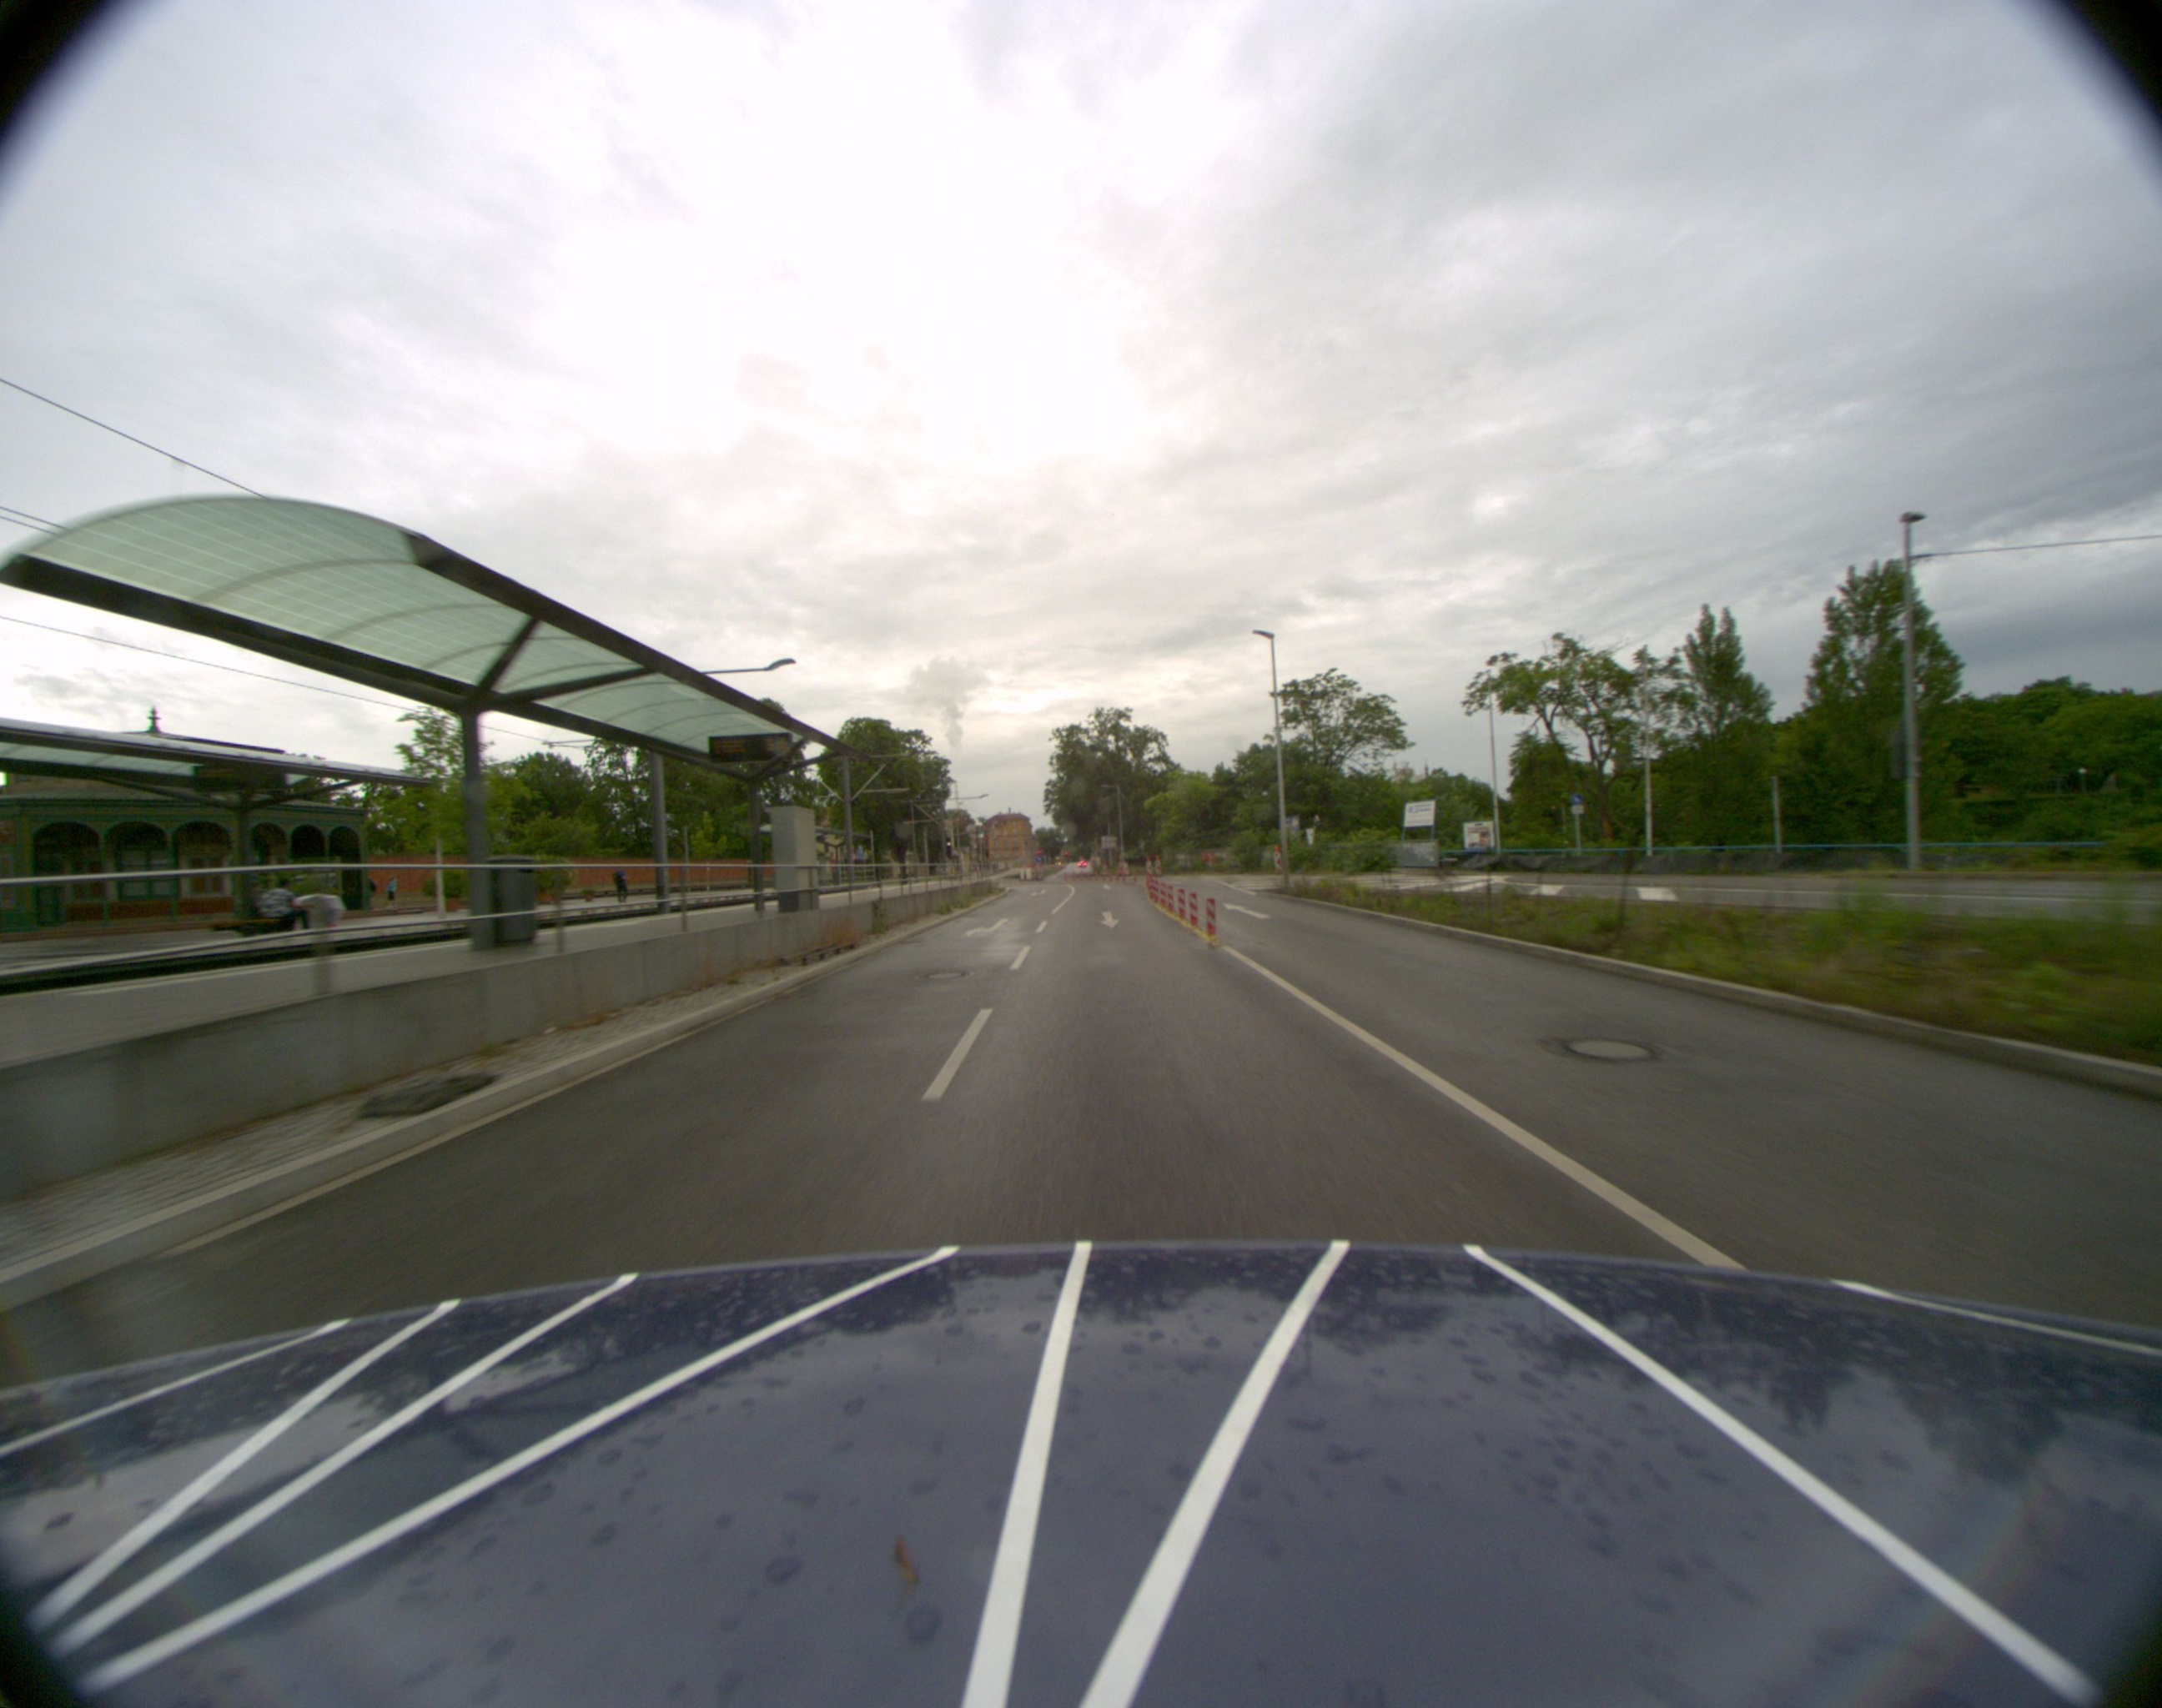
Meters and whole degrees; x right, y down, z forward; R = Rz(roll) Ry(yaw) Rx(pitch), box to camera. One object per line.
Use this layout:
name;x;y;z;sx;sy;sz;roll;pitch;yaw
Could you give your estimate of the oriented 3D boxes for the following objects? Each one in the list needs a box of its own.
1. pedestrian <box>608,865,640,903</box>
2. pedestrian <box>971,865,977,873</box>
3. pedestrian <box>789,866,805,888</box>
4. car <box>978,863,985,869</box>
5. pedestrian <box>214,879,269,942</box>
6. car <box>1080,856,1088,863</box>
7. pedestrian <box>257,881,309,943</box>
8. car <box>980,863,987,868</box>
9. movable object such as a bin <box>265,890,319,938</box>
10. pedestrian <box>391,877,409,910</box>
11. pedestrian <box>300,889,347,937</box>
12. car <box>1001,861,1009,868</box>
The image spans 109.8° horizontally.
pedestrian;-21.773;1.430;36.207;0.722;1.779;1.182;-2;0;1
pedestrian;-21.977;3.110;156.072;0.863;1.581;0.669;-2;0;26
pedestrian;-16.721;1.374;44.752;0.520;1.206;0.782;-8;1;-3
car;-29.584;3.532;226.591;1.831;1.573;3.998;-3;0;-6
pedestrian;-17.042;1.143;15.431;0.438;1.219;0.551;-2;0;1
car;0.778;1.304;183.934;1.713;1.490;4.719;-3;0;-1
pedestrian;-16.409;1.182;15.636;0.438;1.219;0.551;-2;0;1
car;-30.525;3.565;237.458;1.831;1.573;3.998;-3;0;-6
movable object such as a bin;-17.405;1.317;16.772;0.438;1.003;0.682;-2;0;1
pedestrian;-34.118;1.980;38.054;0.550;1.647;0.470;-3;1;35
pedestrian;-16.409;1.270;16.466;0.438;1.003;0.551;-2;0;1
car;-20.880;2.793;208.157;1.844;1.630;4.141;-7;1;-4
